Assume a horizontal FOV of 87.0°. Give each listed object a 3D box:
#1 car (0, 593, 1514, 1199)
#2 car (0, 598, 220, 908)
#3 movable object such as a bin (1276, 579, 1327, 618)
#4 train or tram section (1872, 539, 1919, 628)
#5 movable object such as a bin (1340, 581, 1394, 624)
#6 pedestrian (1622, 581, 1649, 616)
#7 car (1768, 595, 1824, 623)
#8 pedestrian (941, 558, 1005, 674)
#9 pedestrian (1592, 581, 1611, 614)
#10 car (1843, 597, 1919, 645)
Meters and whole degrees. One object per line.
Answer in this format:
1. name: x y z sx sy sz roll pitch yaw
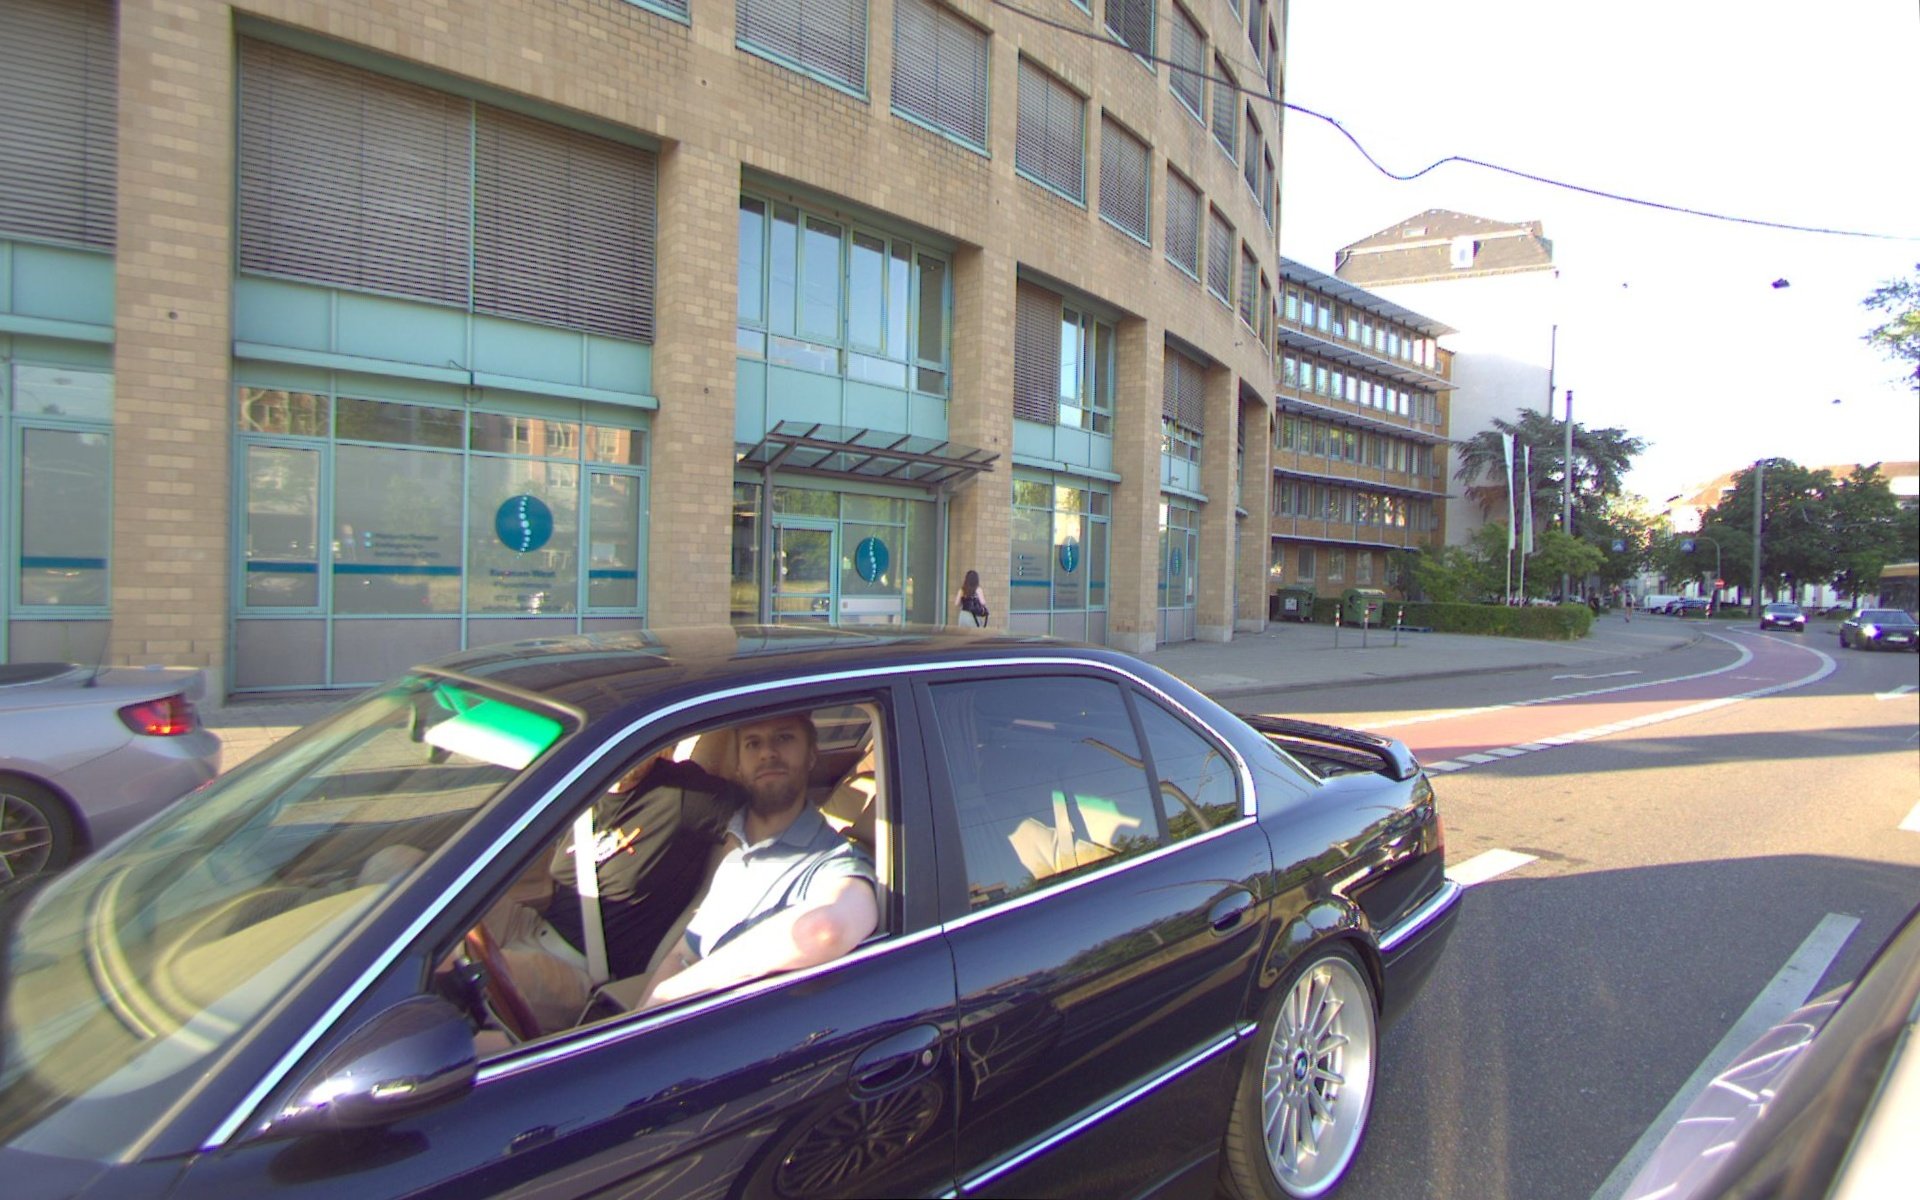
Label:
1. car: -0.719 0.700 2.324 4.656 1.402 1.997 0 1 -41
2. car: -5.915 0.699 4.467 4.153 1.403 1.746 0 0 -41
3. movable object such as a bin: 13.322 -0.080 39.528 1.310 1.477 1.425 0 1 -43
4. train or tram section: 42.274 -0.671 42.764 2.890 3.785 12.064 2 1 30
5. movable object such as a bin: 14.864 0.074 36.956 1.311 1.477 1.424 0 1 -45
6. pedestrian: 38.043 -0.099 57.020 0.899 1.918 1.120 1 1 17
7. car: 44.457 0.465 53.780 3.932 1.405 1.756 0 -1 -42
8. pedestrian: 0.197 0.223 15.390 0.702 1.702 0.626 0 1 -44
9. pedestrian: 36.390 -0.142 57.387 0.711 1.830 0.728 0 1 -41
10. car: 31.524 0.671 34.122 1.985 1.479 4.095 2 1 33
